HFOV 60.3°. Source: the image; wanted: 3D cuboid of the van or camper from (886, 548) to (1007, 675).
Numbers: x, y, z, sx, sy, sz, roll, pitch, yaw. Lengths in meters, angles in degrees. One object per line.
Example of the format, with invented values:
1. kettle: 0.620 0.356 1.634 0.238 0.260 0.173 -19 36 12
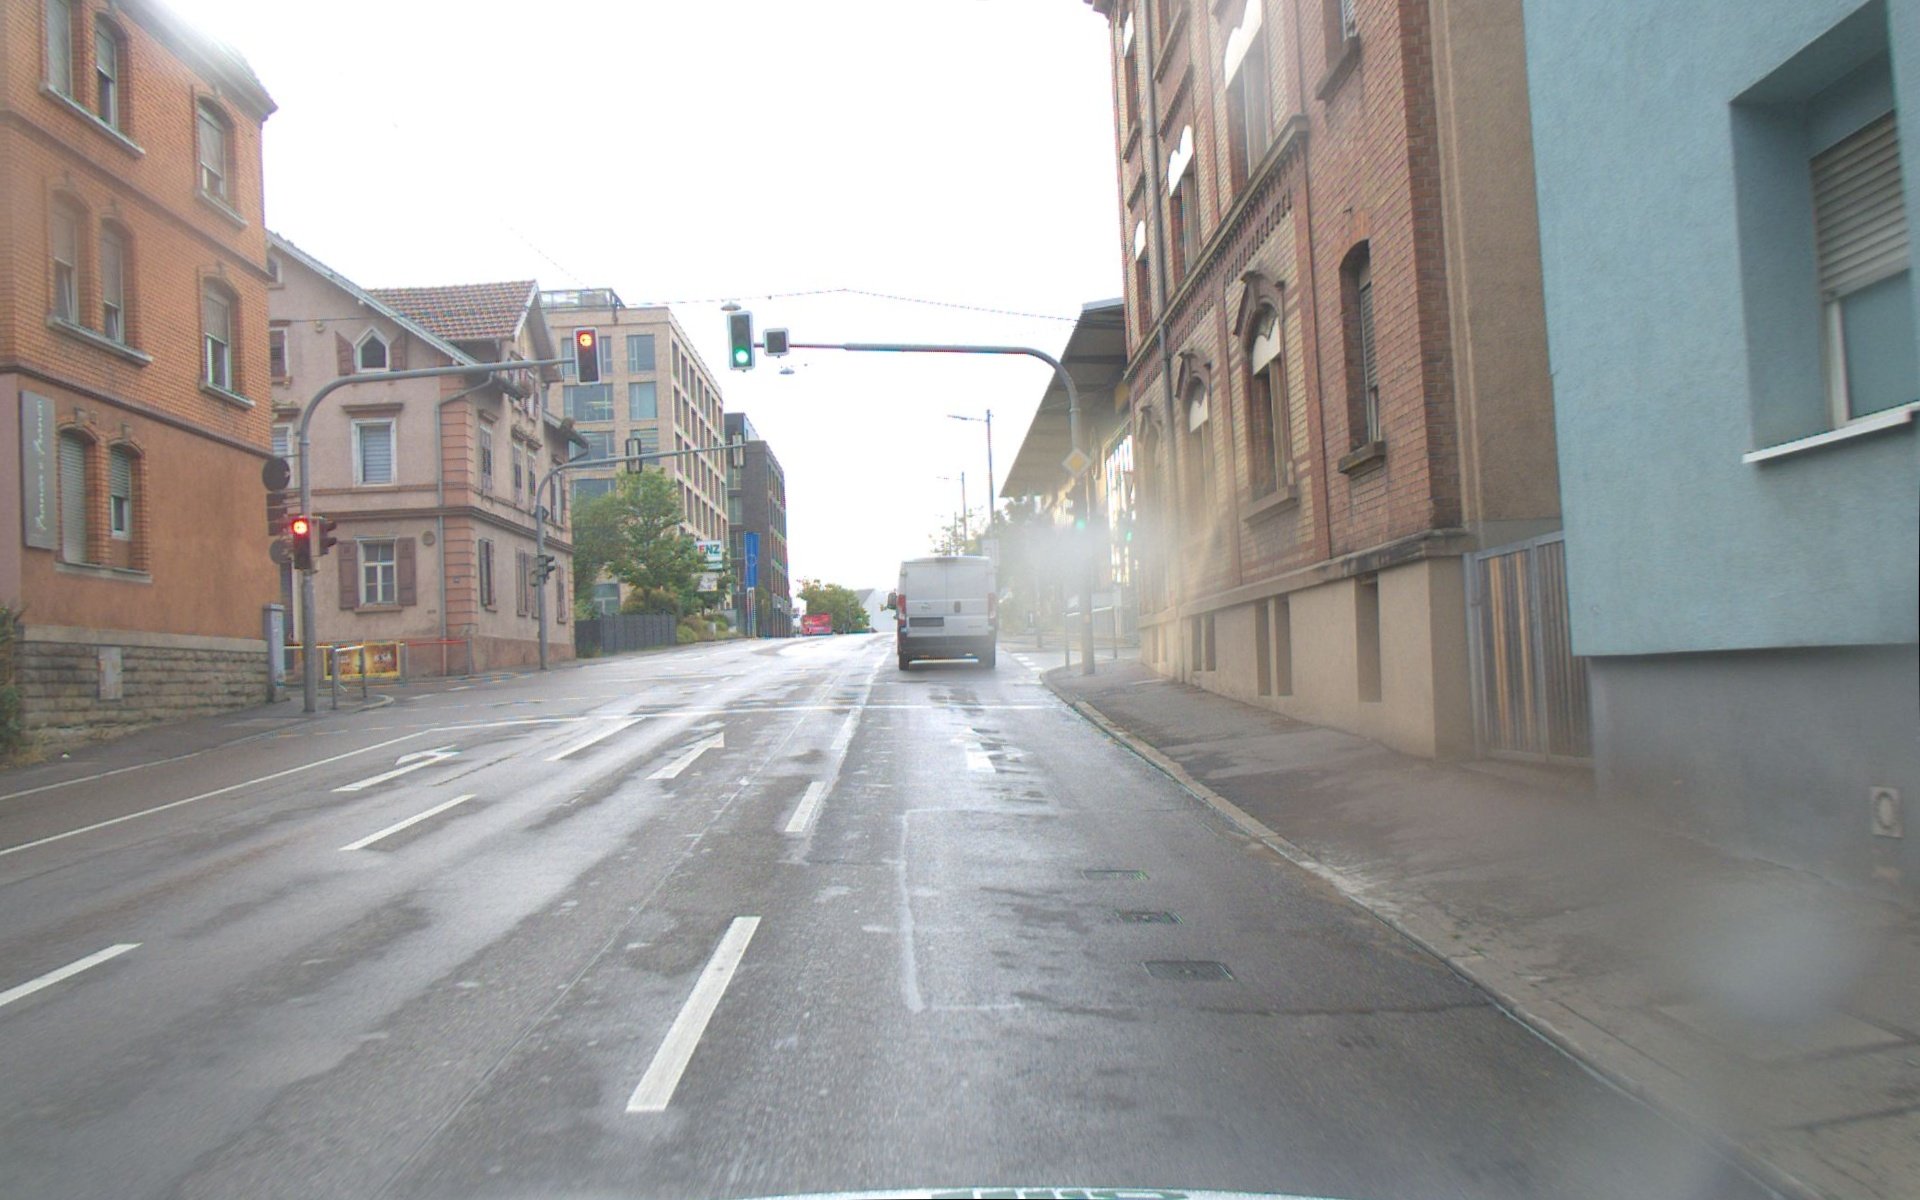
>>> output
1. van or camper: -0.296 0.277 35.056 2.292 2.398 5.198 -2 -1 -1
